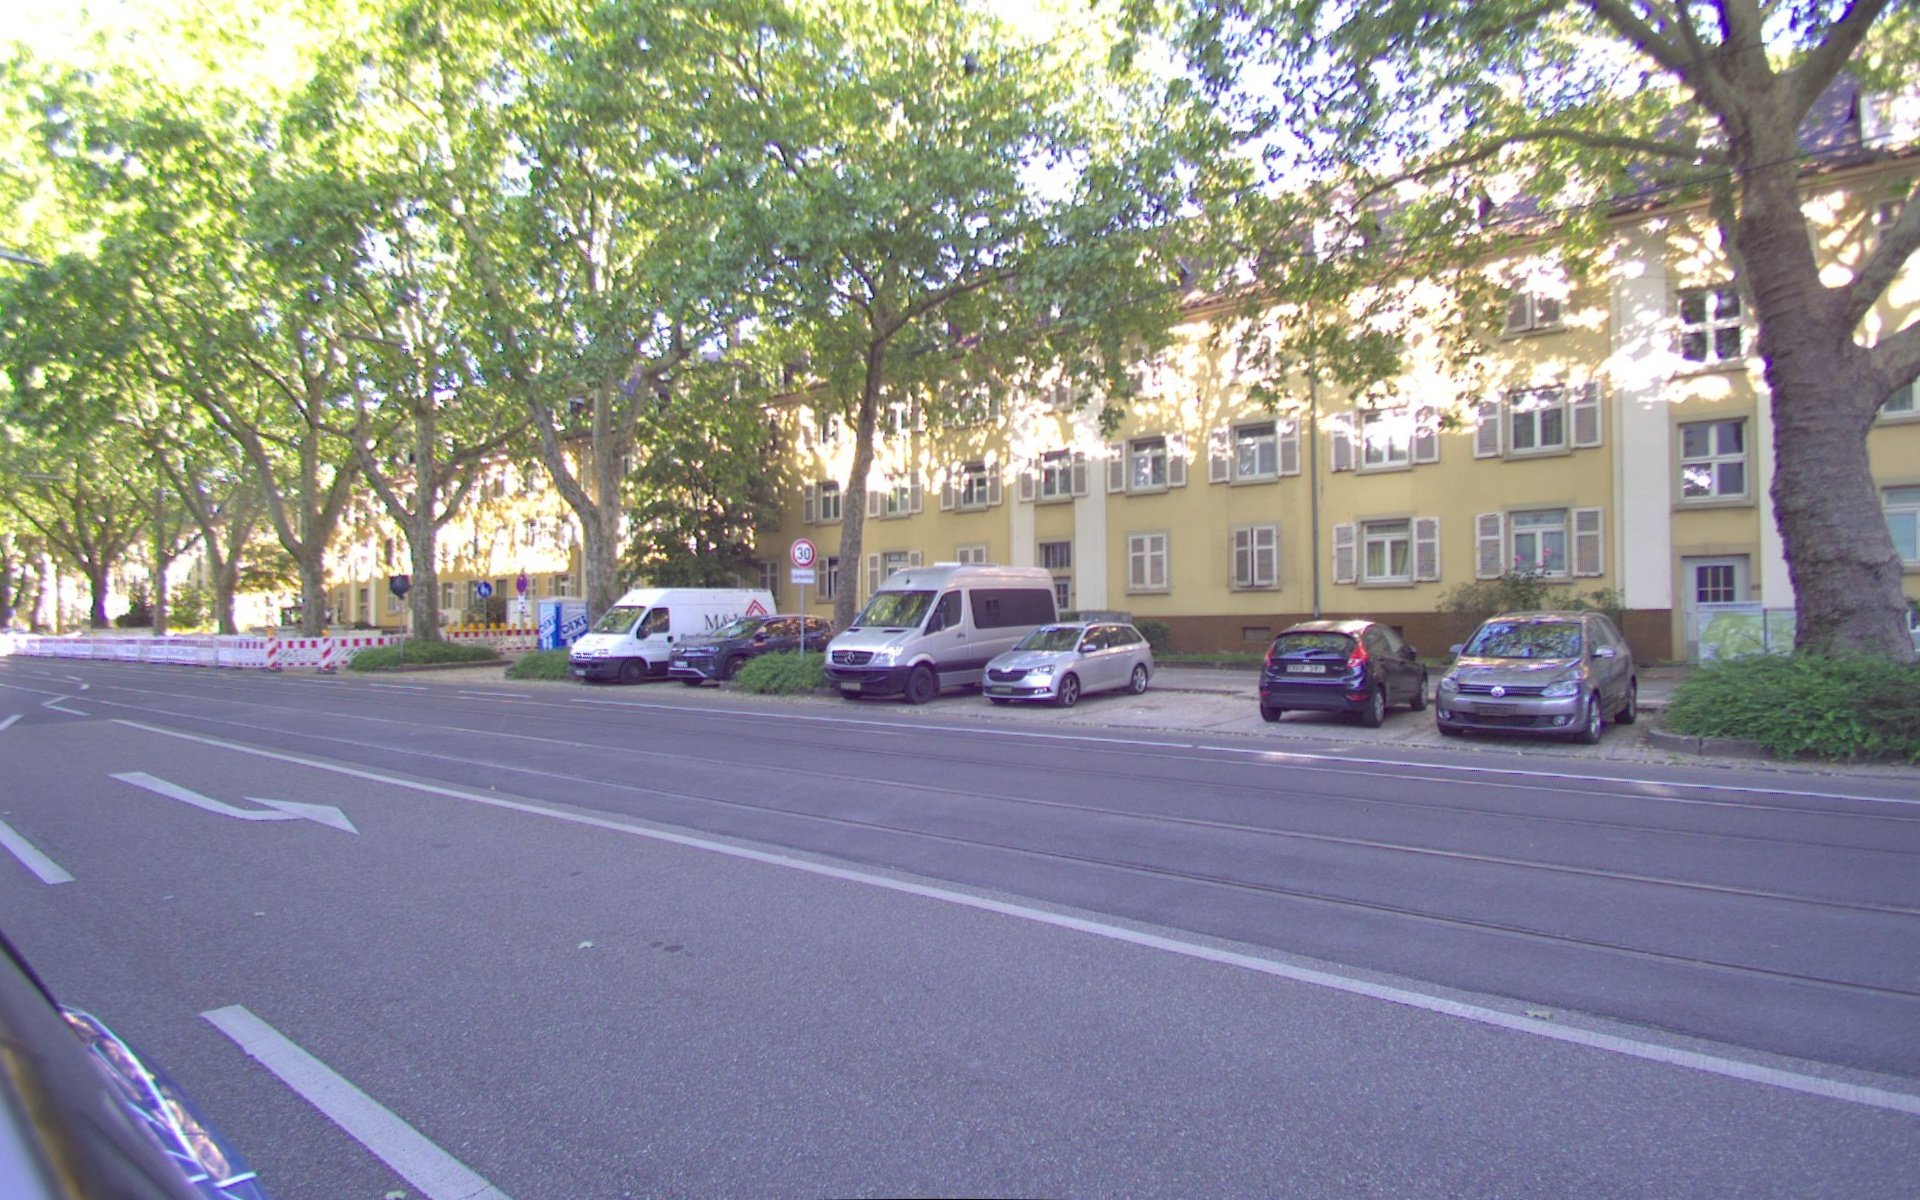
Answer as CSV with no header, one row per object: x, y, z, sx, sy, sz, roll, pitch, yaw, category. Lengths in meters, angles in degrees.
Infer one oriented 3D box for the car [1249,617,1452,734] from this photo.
6.022,1.030,15.379,1.693,1.457,3.811,-1,0,41,car

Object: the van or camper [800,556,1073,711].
-0.260,0.566,20.336,2.154,2.668,5.857,-1,0,40,van or camper

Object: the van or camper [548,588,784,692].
-7.480,0.919,26.345,2.154,2.403,5.690,-1,0,40,van or camper

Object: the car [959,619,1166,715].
2.010,1.142,18.778,1.693,1.457,4.221,-1,0,41,car

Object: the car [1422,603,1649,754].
7.677,0.882,13.320,1.844,1.631,4.028,-1,0,41,car

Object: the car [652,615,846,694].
-4.964,1.222,24.332,1.693,1.645,4.481,-1,0,41,car
